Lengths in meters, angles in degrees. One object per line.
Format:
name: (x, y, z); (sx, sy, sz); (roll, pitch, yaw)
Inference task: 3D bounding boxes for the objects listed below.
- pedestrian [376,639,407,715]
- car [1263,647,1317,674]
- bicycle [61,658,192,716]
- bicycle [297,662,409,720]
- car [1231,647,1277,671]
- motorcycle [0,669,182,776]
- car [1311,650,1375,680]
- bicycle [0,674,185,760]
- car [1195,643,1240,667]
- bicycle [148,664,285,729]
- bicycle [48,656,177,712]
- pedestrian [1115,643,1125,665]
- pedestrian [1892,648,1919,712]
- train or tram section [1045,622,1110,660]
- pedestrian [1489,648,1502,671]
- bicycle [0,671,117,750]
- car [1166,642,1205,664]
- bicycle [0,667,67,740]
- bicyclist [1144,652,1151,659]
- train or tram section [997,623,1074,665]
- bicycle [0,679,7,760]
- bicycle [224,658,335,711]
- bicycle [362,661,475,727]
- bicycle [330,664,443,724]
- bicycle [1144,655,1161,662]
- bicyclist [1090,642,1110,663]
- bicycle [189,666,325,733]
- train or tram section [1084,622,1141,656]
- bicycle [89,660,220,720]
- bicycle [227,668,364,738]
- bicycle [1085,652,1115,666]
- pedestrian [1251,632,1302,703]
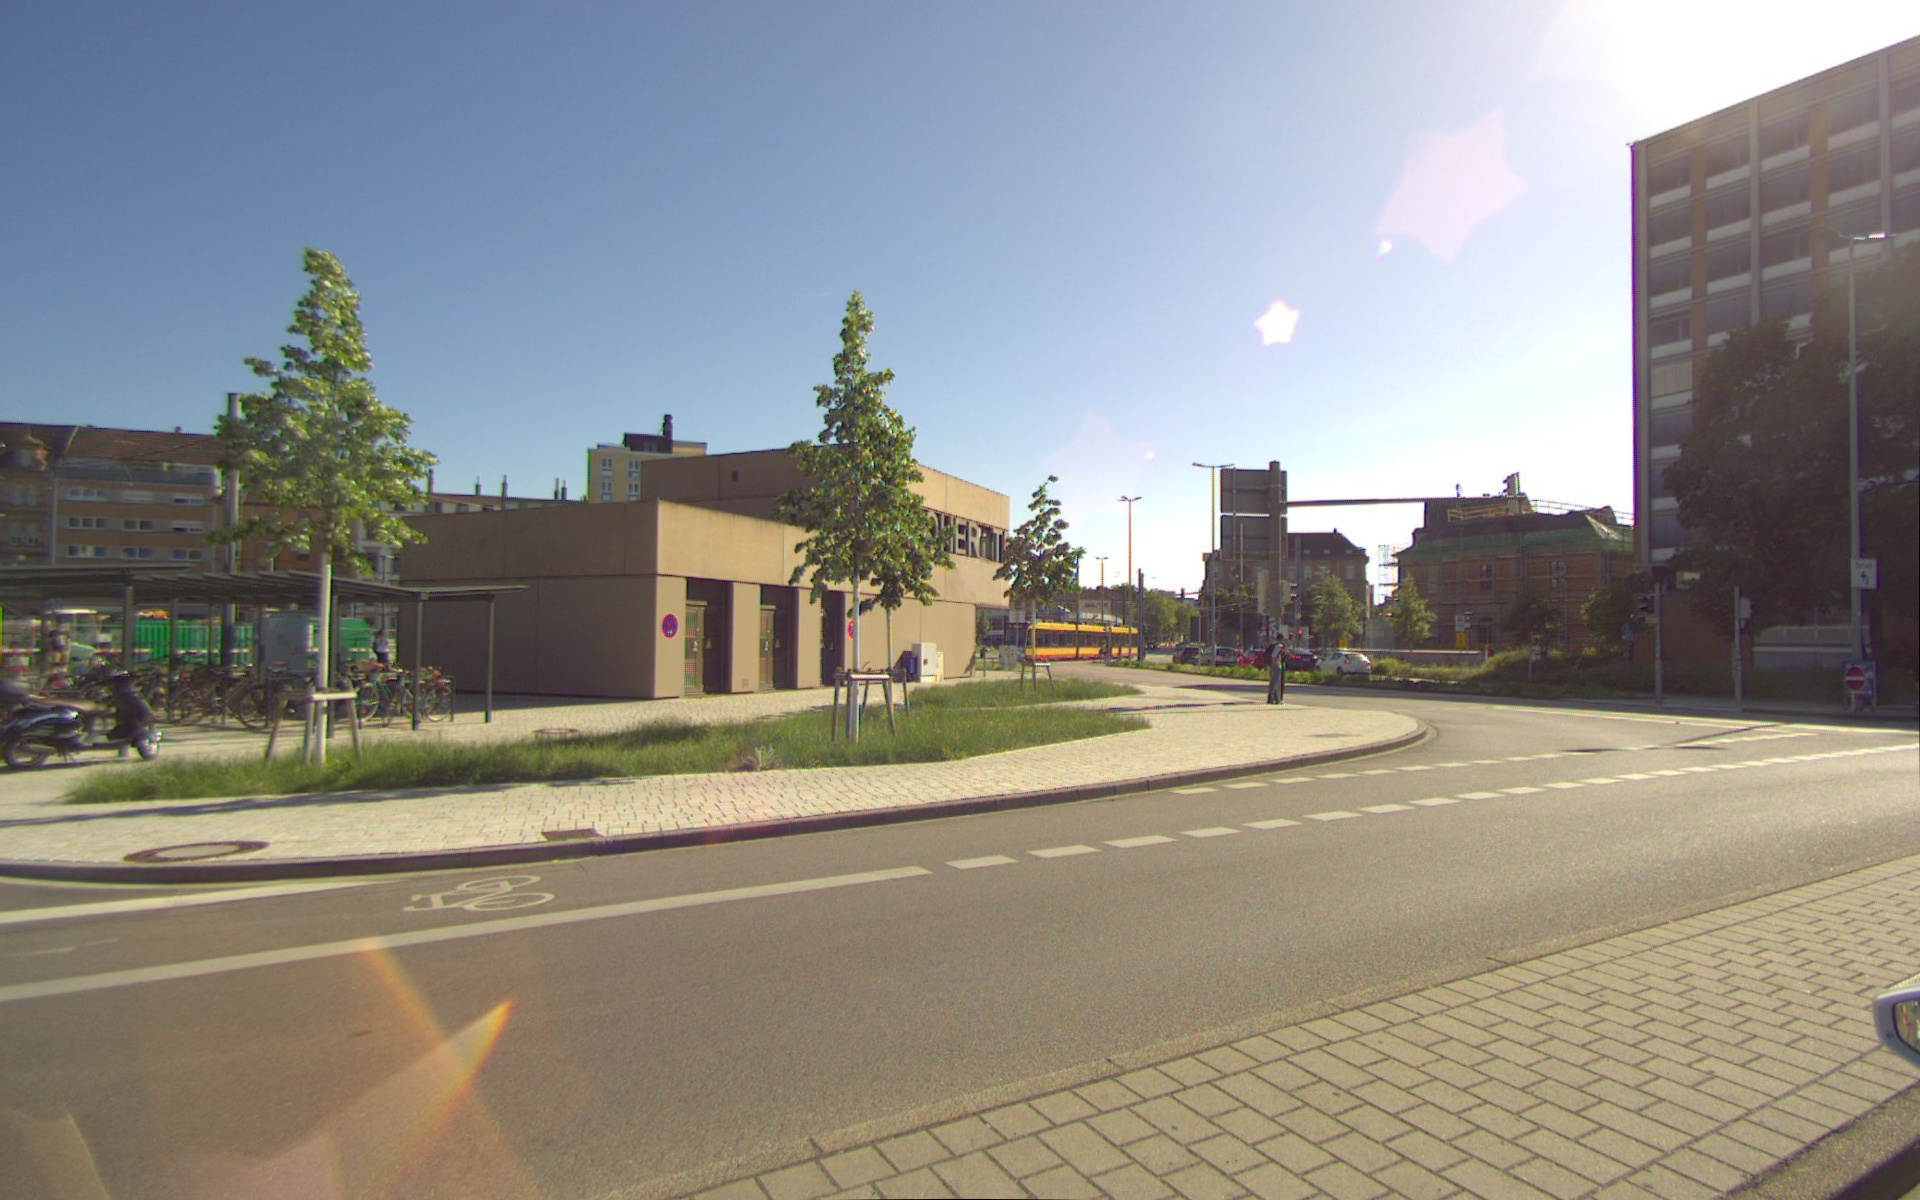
pedestrian: (-15.699, 2.109, 27.753); (0.710, 2.040, 0.682); (2, -3, -30)
car: (20.586, 3.763, 62.787); (1.760, 1.528, 3.880); (1, -2, -6)
bicycle: (-15.912, 1.642, 19.238); (0.449, 1.022, 1.902); (0, -2, 26)
bicycle: (-11.792, 1.742, 19.575); (0.449, 1.022, 1.902); (0, -2, 26)
car: (20.216, 4.027, 69.248); (1.760, 1.528, 3.880); (1, -2, -6)
motorcycle: (-10.915, 1.475, 12.468); (0.508, 1.166, 1.947); (0, -2, 25)
car: (21.259, 3.590, 55.931); (1.760, 1.528, 3.880); (1, -2, -6)
bicycle: (-11.810, 1.555, 13.722); (0.449, 1.022, 1.902); (0, -2, 26)
car: (17.468, 3.688, 68.268); (1.760, 1.528, 3.880); (1, -2, -6)
bicycle: (-12.894, 1.647, 17.488); (0.449, 1.022, 1.902); (0, -2, 26)
bicycle: (-16.695, 1.637, 19.837); (0.449, 1.022, 1.902); (0, -2, 26)
pedestrian: (13.059, 4.406, 82.091); (0.761, 1.786, 0.706); (0, -2, 14)
pedestrian: (28.883, 2.395, 30.280); (0.895, 1.887, 0.813); (1, -2, -16)
train or tram section: (11.355, 3.824, 95.734); (2.651, 3.275, 10.589); (2, 0, 27)
pedestrian: (41.796, 4.631, 78.398); (0.754, 1.753, 0.675); (2, -2, -39)
bicycle: (-13.024, 1.536, 14.013); (0.449, 1.022, 1.902); (0, -2, 26)
car: (16.787, 3.923, 74.995); (1.760, 1.528, 3.880); (1, -2, -6)
bicycle: (-14.154, 1.507, 14.444); (0.449, 1.022, 1.902); (0, -2, 26)
bicyclist: (15.861, 4.676, 85.034); (0.560, 0.556, 0.431); (0, -2, 11)
train or tram section: (6.630, 3.635, 86.273); (2.651, 3.275, 10.589); (2, 0, 27)
bicycle: (-12.741, 1.484, 12.002); (0.449, 1.022, 1.902); (0, -2, 26)
bicycle: (-14.068, 1.727, 20.827); (0.449, 1.022, 1.902); (0, -2, 26)
bicycle: (-9.922, 1.695, 18.488); (0.449, 1.112, 1.902); (0, -2, 26)
bicycle: (-10.702, 1.733, 18.818); (0.449, 1.022, 1.902); (0, -2, 26)
bicycle: (16.254, 4.909, 84.943); (1.381, 0.556, 0.435); (0, -2, 11)
bicyclist: (11.865, 4.452, 85.154); (1.544, 1.655, 0.811); (2, 0, 15)
bicycle: (-11.884, 1.651, 17.058); (0.449, 1.022, 1.902); (0, -2, 26)
train or tram section: (16.078, 4.013, 105.239); (2.651, 3.275, 10.589); (2, 0, 27)
bicycle: (-15.076, 1.654, 18.863); (0.449, 1.022, 1.902); (0, -2, 26)
bicycle: (-10.906, 1.662, 16.568); (0.449, 1.022, 1.902); (0, -2, 26)
bicycle: (11.874, 4.984, 85.136); (2.370, 1.076, 0.811); (2, 0, 14)
pedestrian: (7.990, 1.692, 25.362); (1.044, 1.753, 0.652); (1, -2, -16)
